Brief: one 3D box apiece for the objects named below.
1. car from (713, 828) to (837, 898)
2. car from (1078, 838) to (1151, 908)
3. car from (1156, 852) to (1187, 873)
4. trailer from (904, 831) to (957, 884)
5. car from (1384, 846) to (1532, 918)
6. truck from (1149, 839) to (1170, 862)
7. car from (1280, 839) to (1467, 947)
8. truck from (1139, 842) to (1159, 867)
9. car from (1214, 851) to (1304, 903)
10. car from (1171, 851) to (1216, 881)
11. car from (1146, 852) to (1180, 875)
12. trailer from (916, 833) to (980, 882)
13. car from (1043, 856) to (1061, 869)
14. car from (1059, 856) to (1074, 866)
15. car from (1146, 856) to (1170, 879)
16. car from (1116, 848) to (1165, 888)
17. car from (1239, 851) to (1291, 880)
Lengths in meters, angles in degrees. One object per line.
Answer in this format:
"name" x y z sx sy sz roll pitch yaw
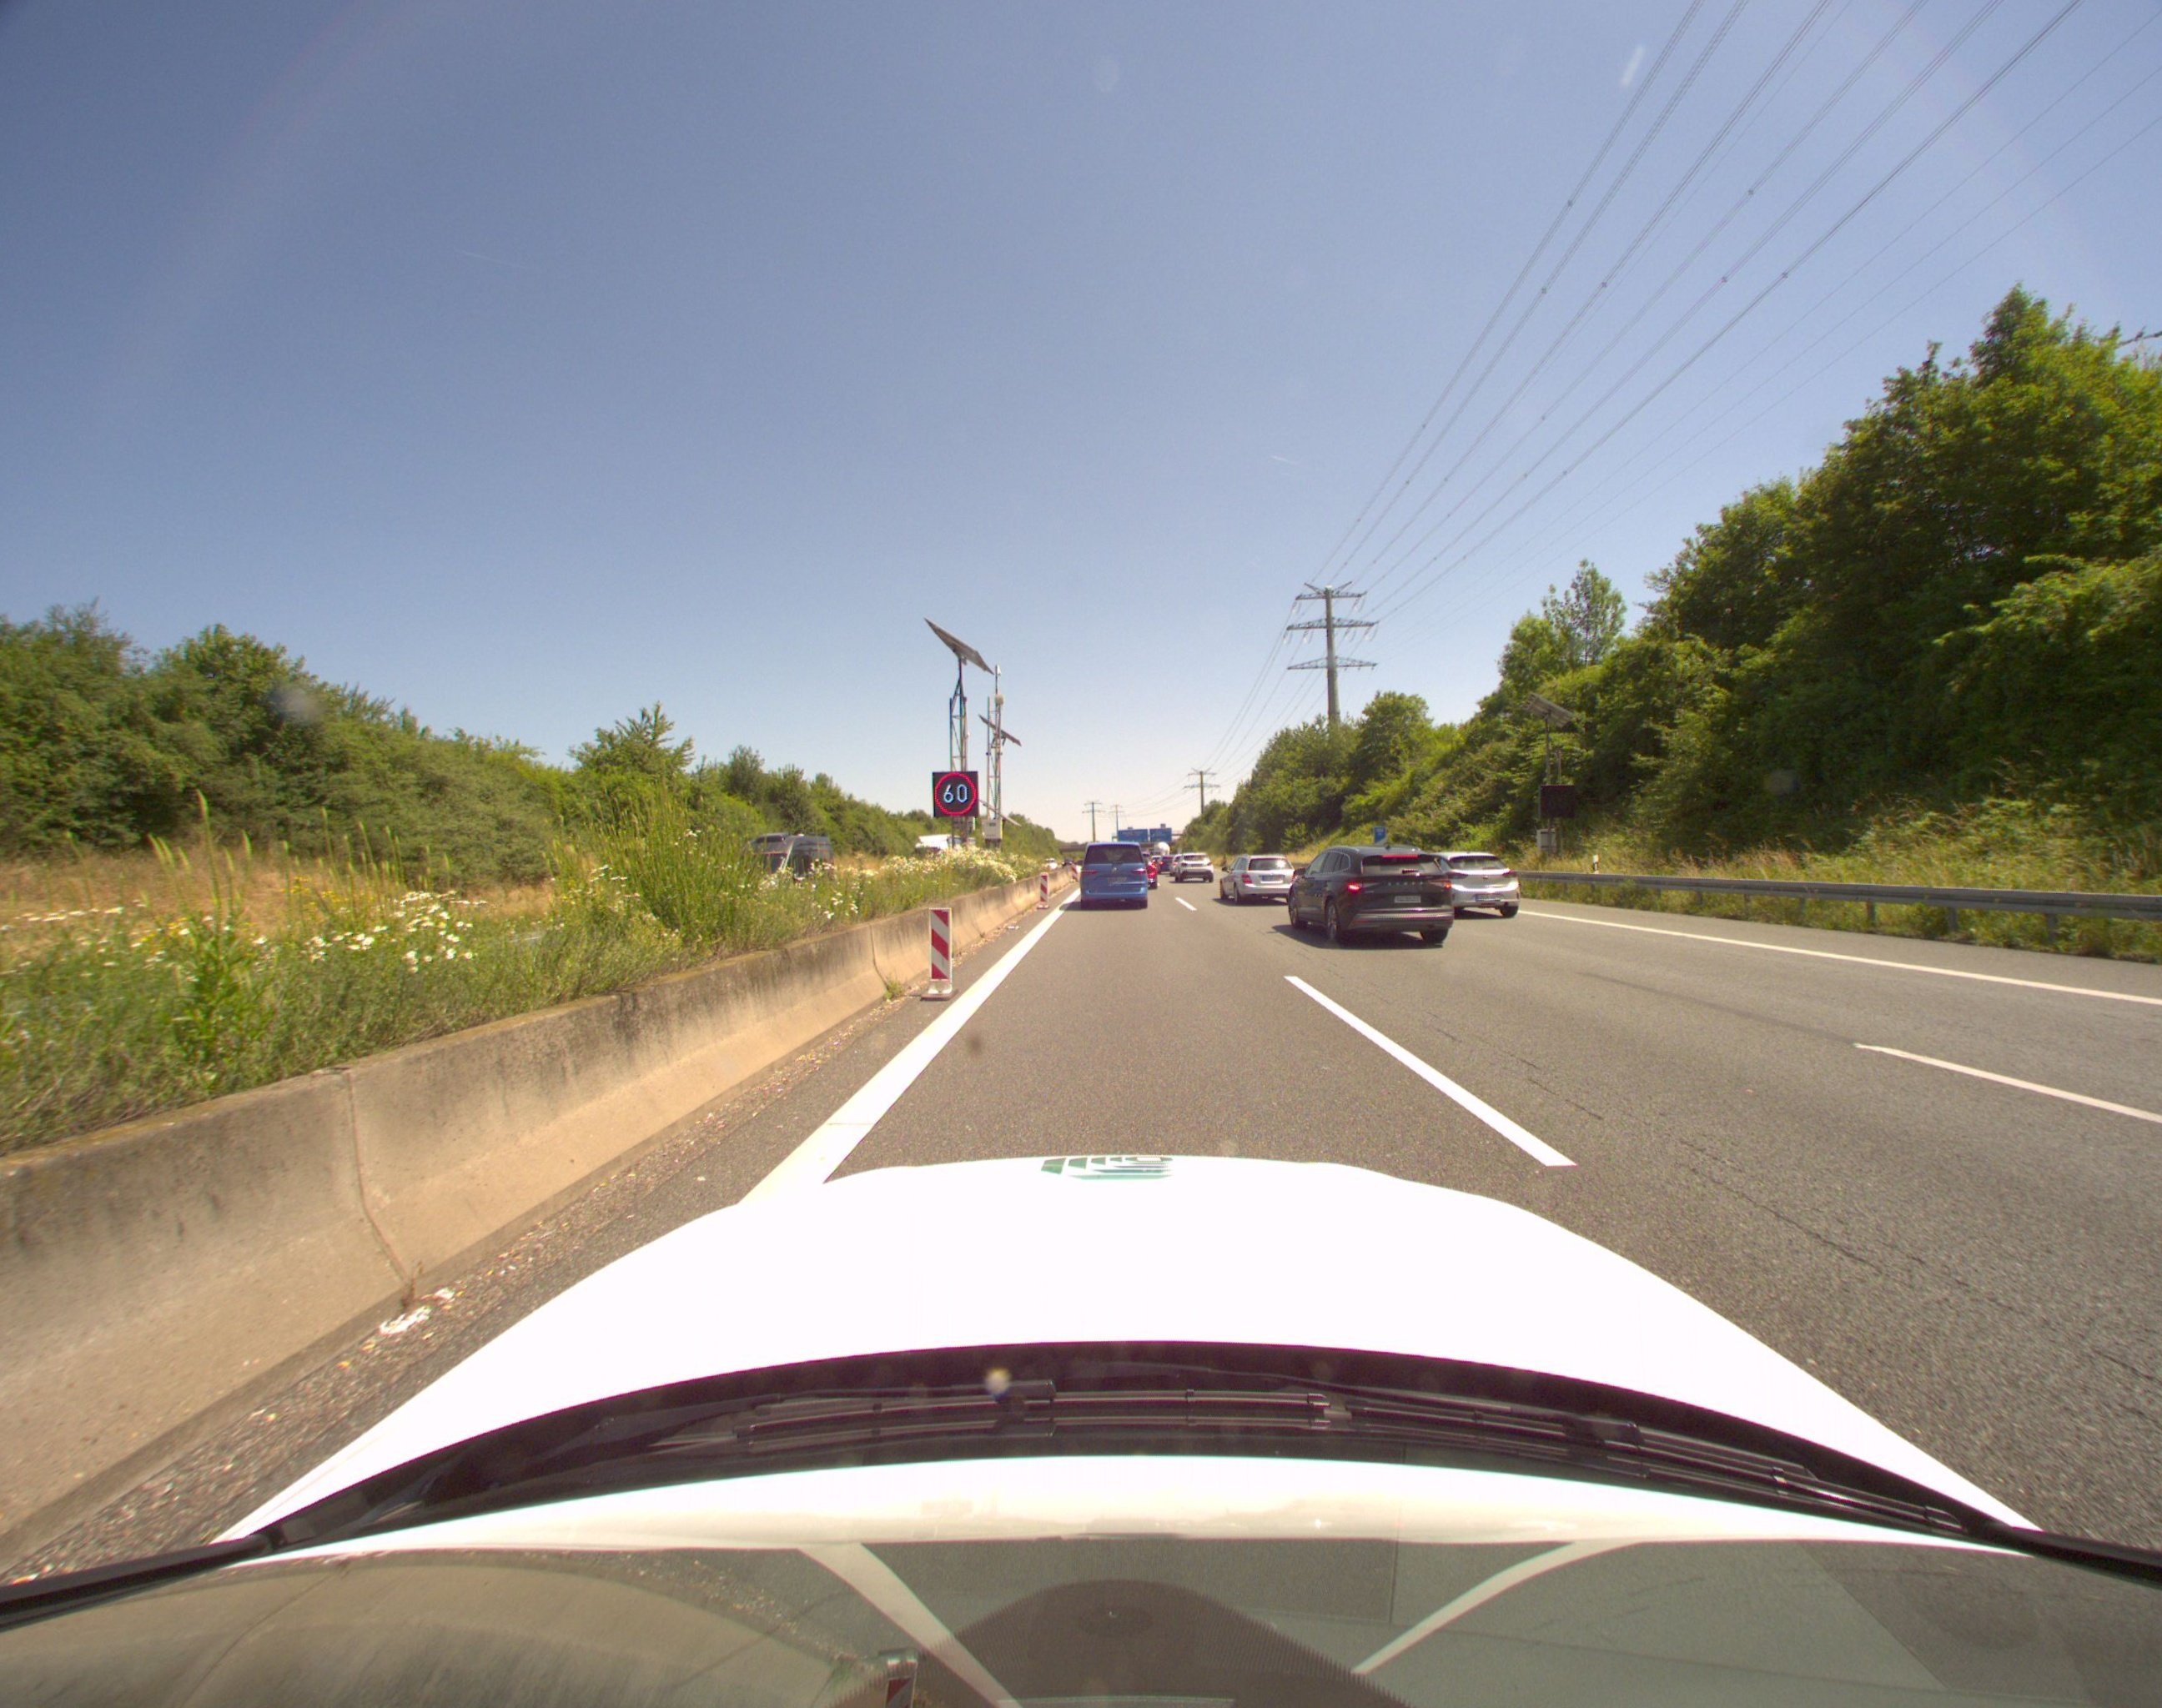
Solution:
"car" -10.276 0.276 27.871 1.986 2.091 5.232 -2 0 2
"car" 0.902 0.509 24.166 1.866 1.879 4.381 0 0 -1
"car" 6.946 0.644 62.751 1.902 1.516 4.383 0 0 0
"trailer" -12.605 0.283 68.624 2.949 4.057 5.437 -4 0 2
"car" 8.654 0.581 19.086 1.734 1.470 4.016 -1 0 2
"truck" 14.632 -0.598 152.604 2.635 4.072 16.444 0 0 1
"car" 4.967 0.582 14.531 1.821 1.614 4.432 -1 0 1
"truck" 7.644 0.049 91.915 1.986 2.723 5.681 0 0 1
"car" 5.335 0.655 24.931 1.815 1.437 4.383 0 0 0
"car" 5.942 0.611 43.347 1.902 1.508 3.921 0 0 0
"car" 5.580 0.639 55.834 1.902 1.516 4.383 0 0 0
"trailer" -12.261 0.281 76.613 2.949 4.057 13.603 -4 0 2
"car" -3.191 0.958 90.451 1.577 1.443 4.003 0 0 3
"car" -2.304 1.061 130.168 1.986 1.546 4.915 -2 0 2
"car" 7.055 1.194 75.035 1.986 2.013 4.002 0 0 2
"car" 2.580 0.593 36.274 1.902 1.631 4.384 -1 0 1
"car" 9.467 0.570 42.240 1.729 1.378 4.302 0 0 0
